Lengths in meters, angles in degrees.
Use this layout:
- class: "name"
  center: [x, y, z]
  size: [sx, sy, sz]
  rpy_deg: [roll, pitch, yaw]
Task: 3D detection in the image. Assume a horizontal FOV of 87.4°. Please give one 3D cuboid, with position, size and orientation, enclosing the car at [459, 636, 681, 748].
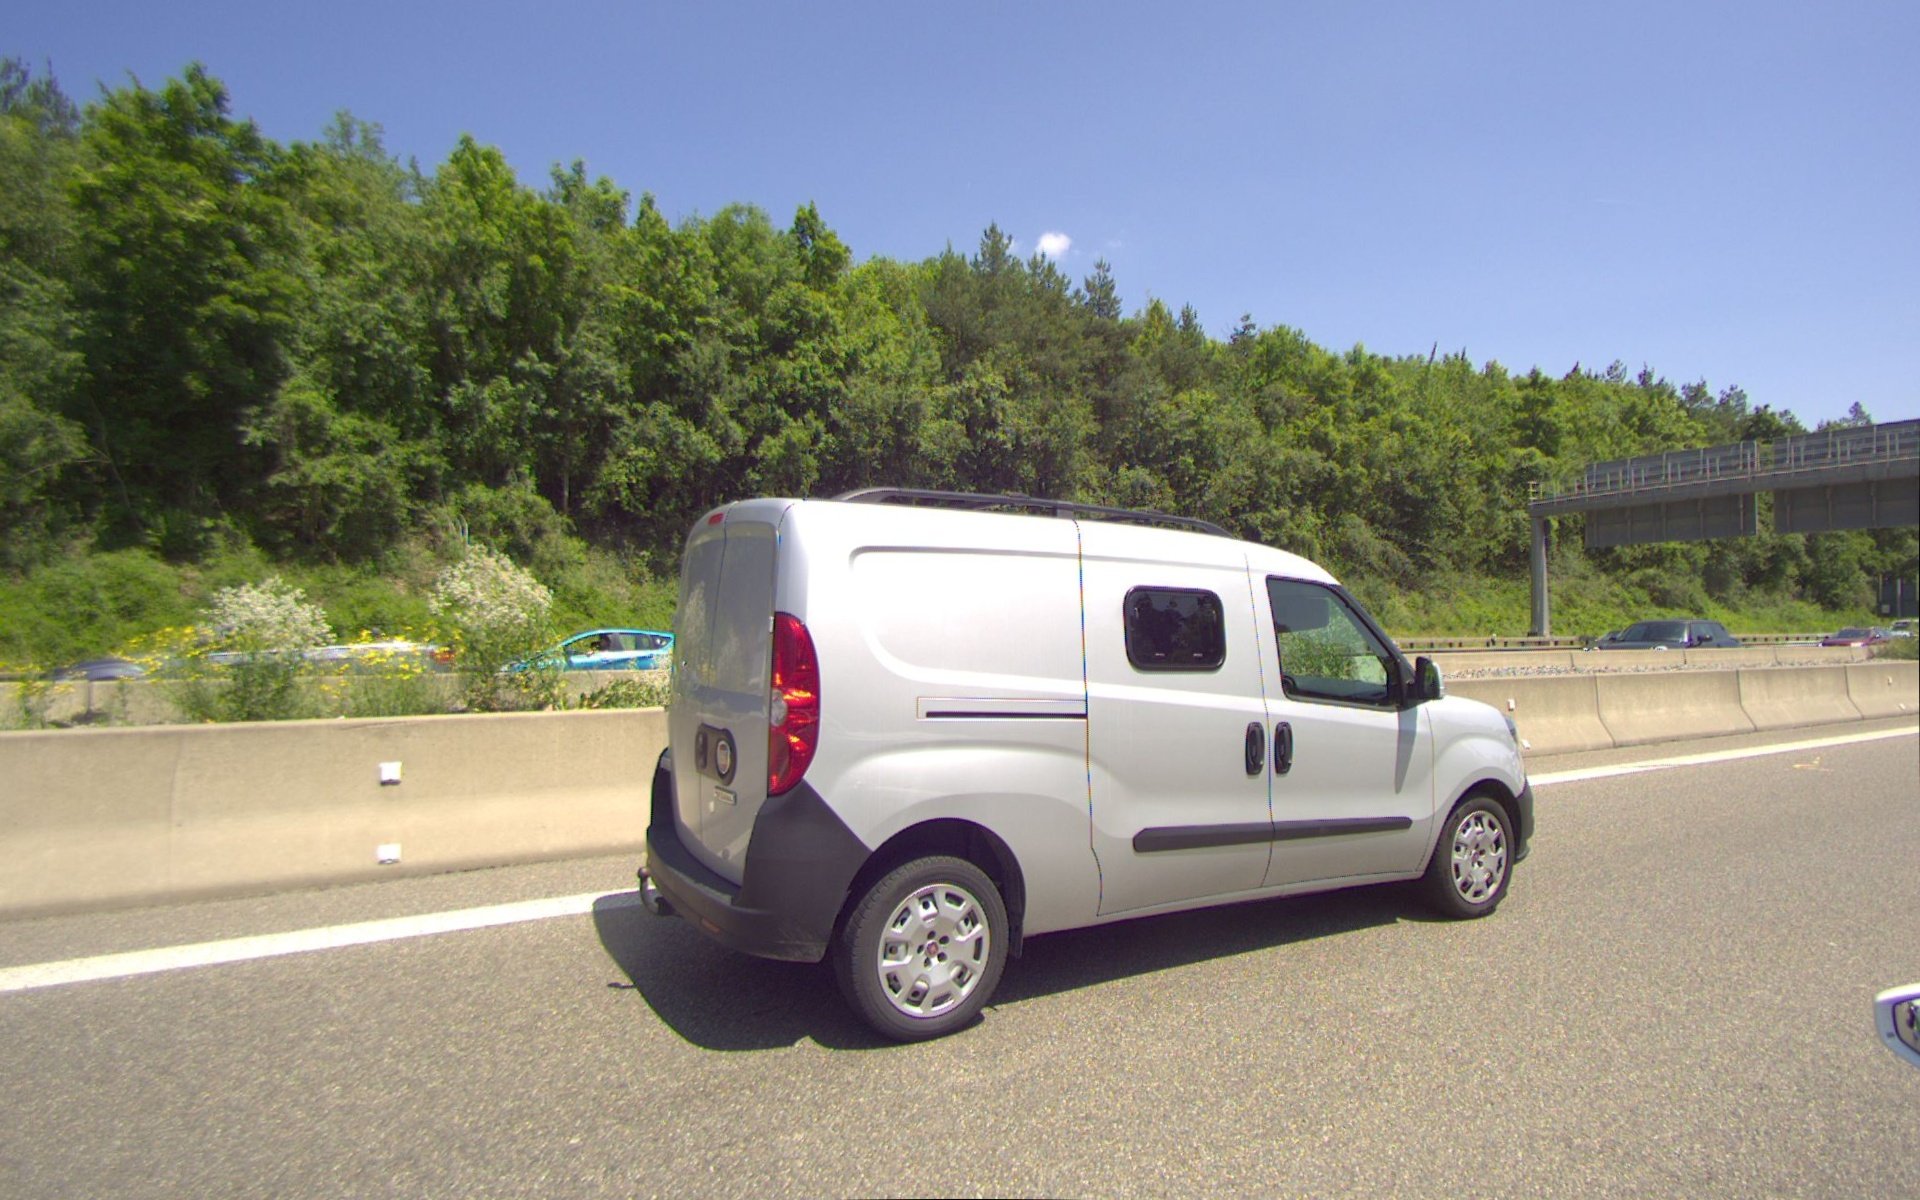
- class: "car"
  center: [-8.010, 1.821, 20.676]
  size: [3.955, 2.040, 1.983]
  rpy_deg: [2, -1, -32]

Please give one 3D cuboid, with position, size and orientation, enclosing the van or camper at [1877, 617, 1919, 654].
- class: "van or camper"
  center: [56.172, 2.125, 59.112]
  size: [4.625, 2.040, 1.984]
  rpy_deg: [2, -1, -30]

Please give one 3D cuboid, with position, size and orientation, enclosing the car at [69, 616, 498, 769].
- class: "car"
  center: [-7.860, 1.030, 12.133]
  size: [3.953, 1.540, 1.984]
  rpy_deg: [2, -1, -30]

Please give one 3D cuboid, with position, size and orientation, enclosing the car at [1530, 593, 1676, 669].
- class: "car"
  center: [18.445, 0.864, 28.786]
  size: [3.954, 2.040, 1.984]
  rpy_deg: [1, -1, -31]

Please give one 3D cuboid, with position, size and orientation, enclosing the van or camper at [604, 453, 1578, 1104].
- class: "van or camper"
  center: [0.791, 0.544, 4.874]
  size: [4.507, 1.905, 1.844]
  rpy_deg: [1, 0, -30]

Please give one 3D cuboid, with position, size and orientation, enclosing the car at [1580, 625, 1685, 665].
- class: "car"
  center: [27.080, 1.815, 40.451]
  size: [3.953, 1.466, 1.984]
  rpy_deg: [2, -1, -30]

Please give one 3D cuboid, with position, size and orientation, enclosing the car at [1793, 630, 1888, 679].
- class: "car"
  center: [39.884, 2.459, 45.493]
  size: [4.232, 2.040, 1.984]
  rpy_deg: [2, -1, -30]

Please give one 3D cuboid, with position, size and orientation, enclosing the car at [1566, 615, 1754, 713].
- class: "car"
  center: [15.202, 1.357, 21.782]
  size: [3.954, 1.906, 1.897]
  rpy_deg: [2, -1, -31]
